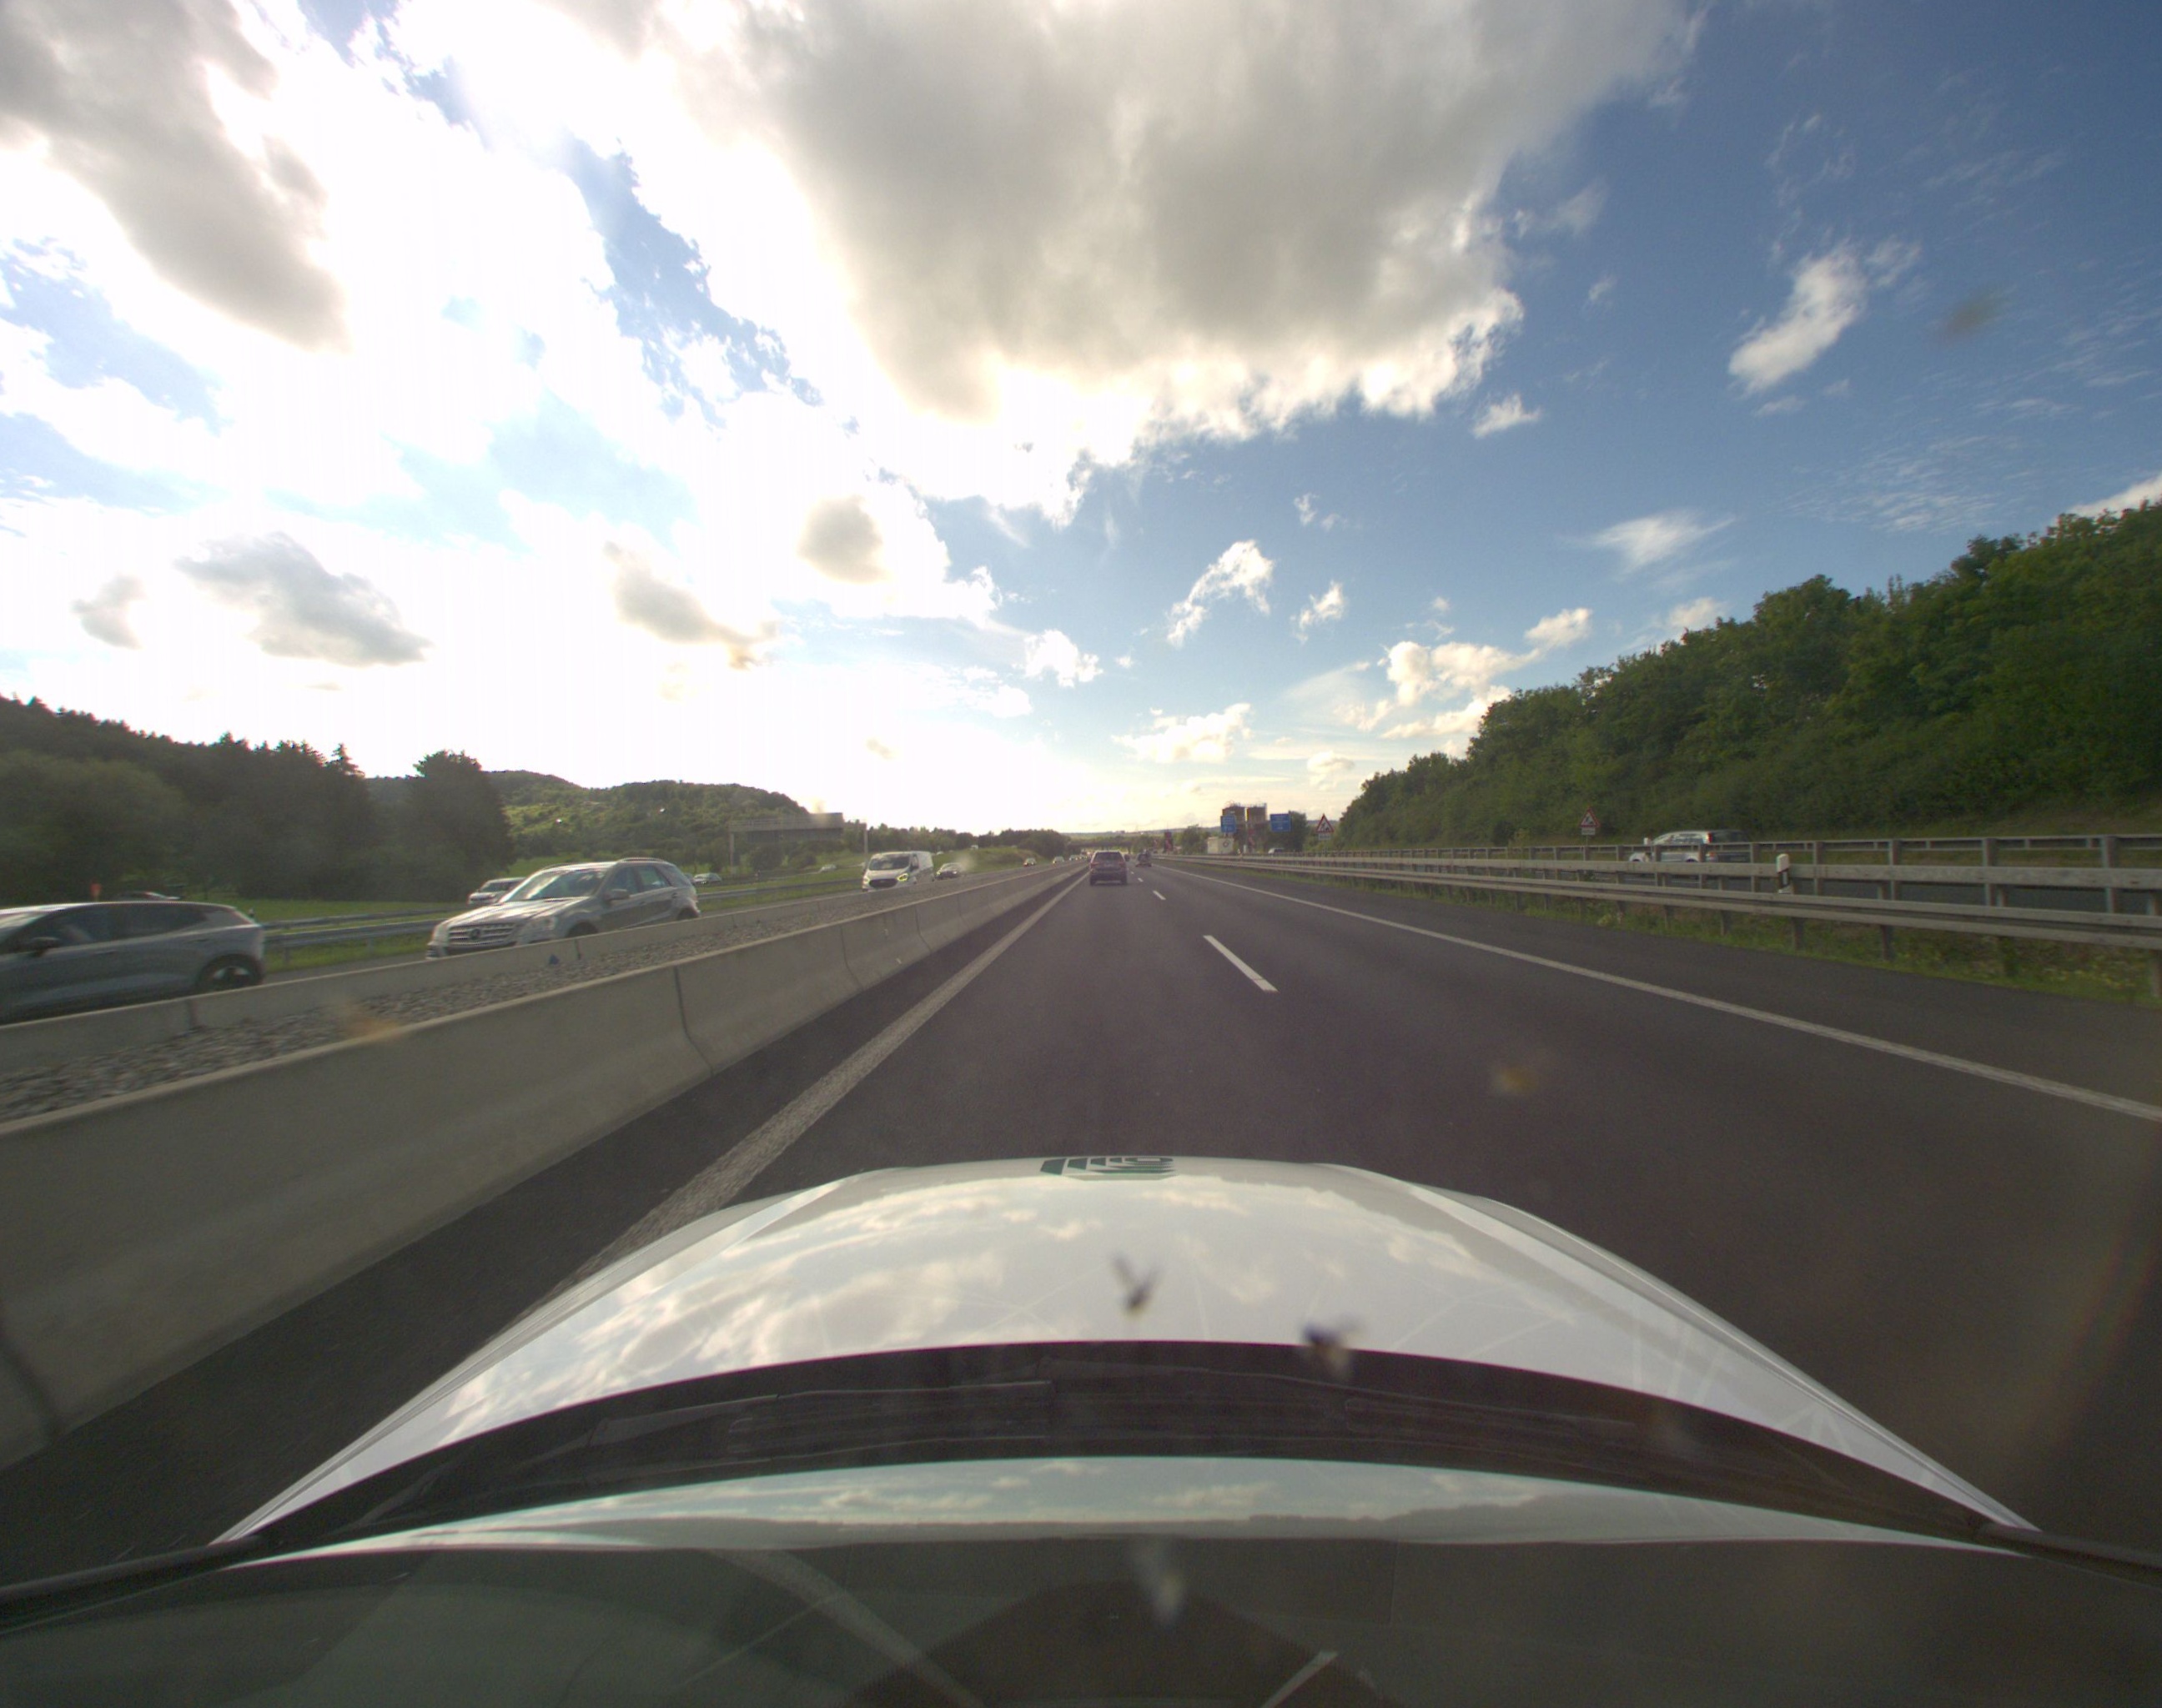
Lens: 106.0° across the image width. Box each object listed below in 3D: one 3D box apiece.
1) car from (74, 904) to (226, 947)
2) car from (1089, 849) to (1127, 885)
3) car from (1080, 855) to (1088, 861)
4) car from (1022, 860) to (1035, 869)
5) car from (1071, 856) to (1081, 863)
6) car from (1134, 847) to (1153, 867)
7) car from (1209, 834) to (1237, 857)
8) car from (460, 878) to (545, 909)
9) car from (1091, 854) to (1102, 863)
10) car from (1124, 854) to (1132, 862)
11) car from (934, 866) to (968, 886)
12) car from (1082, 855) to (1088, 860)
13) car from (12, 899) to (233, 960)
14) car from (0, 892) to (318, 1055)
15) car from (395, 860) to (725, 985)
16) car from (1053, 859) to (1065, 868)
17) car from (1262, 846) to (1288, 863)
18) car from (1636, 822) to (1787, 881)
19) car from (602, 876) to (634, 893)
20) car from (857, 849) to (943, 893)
[{"bbox_3d":[-44.312,3.371,38.961,1.768,1.548,4.884,-3,0,-3],"label":"car"},{"bbox_3d":[1.404,0.649,40.948,1.742,1.630,3.612,-3,0,3],"label":"car"},{"bbox_3d":[0.787,1.036,219.367,1.781,1.398,4.801,-3,0,2],"label":"car"},{"bbox_3d":[-8.522,1.654,132.542,1.721,1.398,4.160,-3,0,2],"label":"car"},{"bbox_3d":[-1.117,1.192,184.178,1.781,1.398,4.727,-3,0,2],"label":"car"},{"bbox_3d":[7.183,0.367,93.727,1.986,2.080,4.002,-3,0,2],"label":"car"},{"bbox_3d":[24.500,-1.371,140.646,3.563,3.676,7.552,-3,0,2],"label":"car"},{"bbox_3d":[-34.815,2.348,49.181,1.768,1.548,4.884,-3,0,-3],"label":"car"},{"bbox_3d":[3.693,1.018,191.033,2.160,1.843,4.004,-3,0,3],"label":"car"},{"bbox_3d":[11.690,0.951,202.464,1.967,1.779,4.122,-3,0,2],"label":"car"},{"bbox_3d":[-10.283,1.720,64.820,1.747,1.402,4.693,-3,0,2],"label":"car"},{"bbox_3d":[1.307,1.191,258.944,1.781,1.398,4.625,-3,0,2],"label":"car"},{"bbox_3d":[-29.019,2.225,24.930,1.770,1.400,4.389,-3,0,-6],"label":"car"},{"bbox_3d":[-12.151,1.371,9.549,1.986,1.532,4.509,-3,0,2],"label":"car"},{"bbox_3d":[-8.047,0.939,13.359,1.986,1.532,5.023,-3,0,2],"label":"car"},{"bbox_3d":[-3.686,1.565,135.132,1.635,1.398,3.743,-3,0,2],"label":"car"},{"bbox_3d":[22.015,0.061,92.549,1.986,1.717,4.002,-3,0,2],"label":"car"},{"bbox_3d":[20.859,-0.082,27.190,1.986,1.708,4.002,-3,0,2],"label":"car"},{"bbox_3d":[-61.897,4.088,108.957,1.988,2.013,3.997,-3,0,-2],"label":"car"},{"bbox_3d":[-7.250,0.661,33.337,1.986,1.532,5.750,-3,0,2],"label":"car"}]
